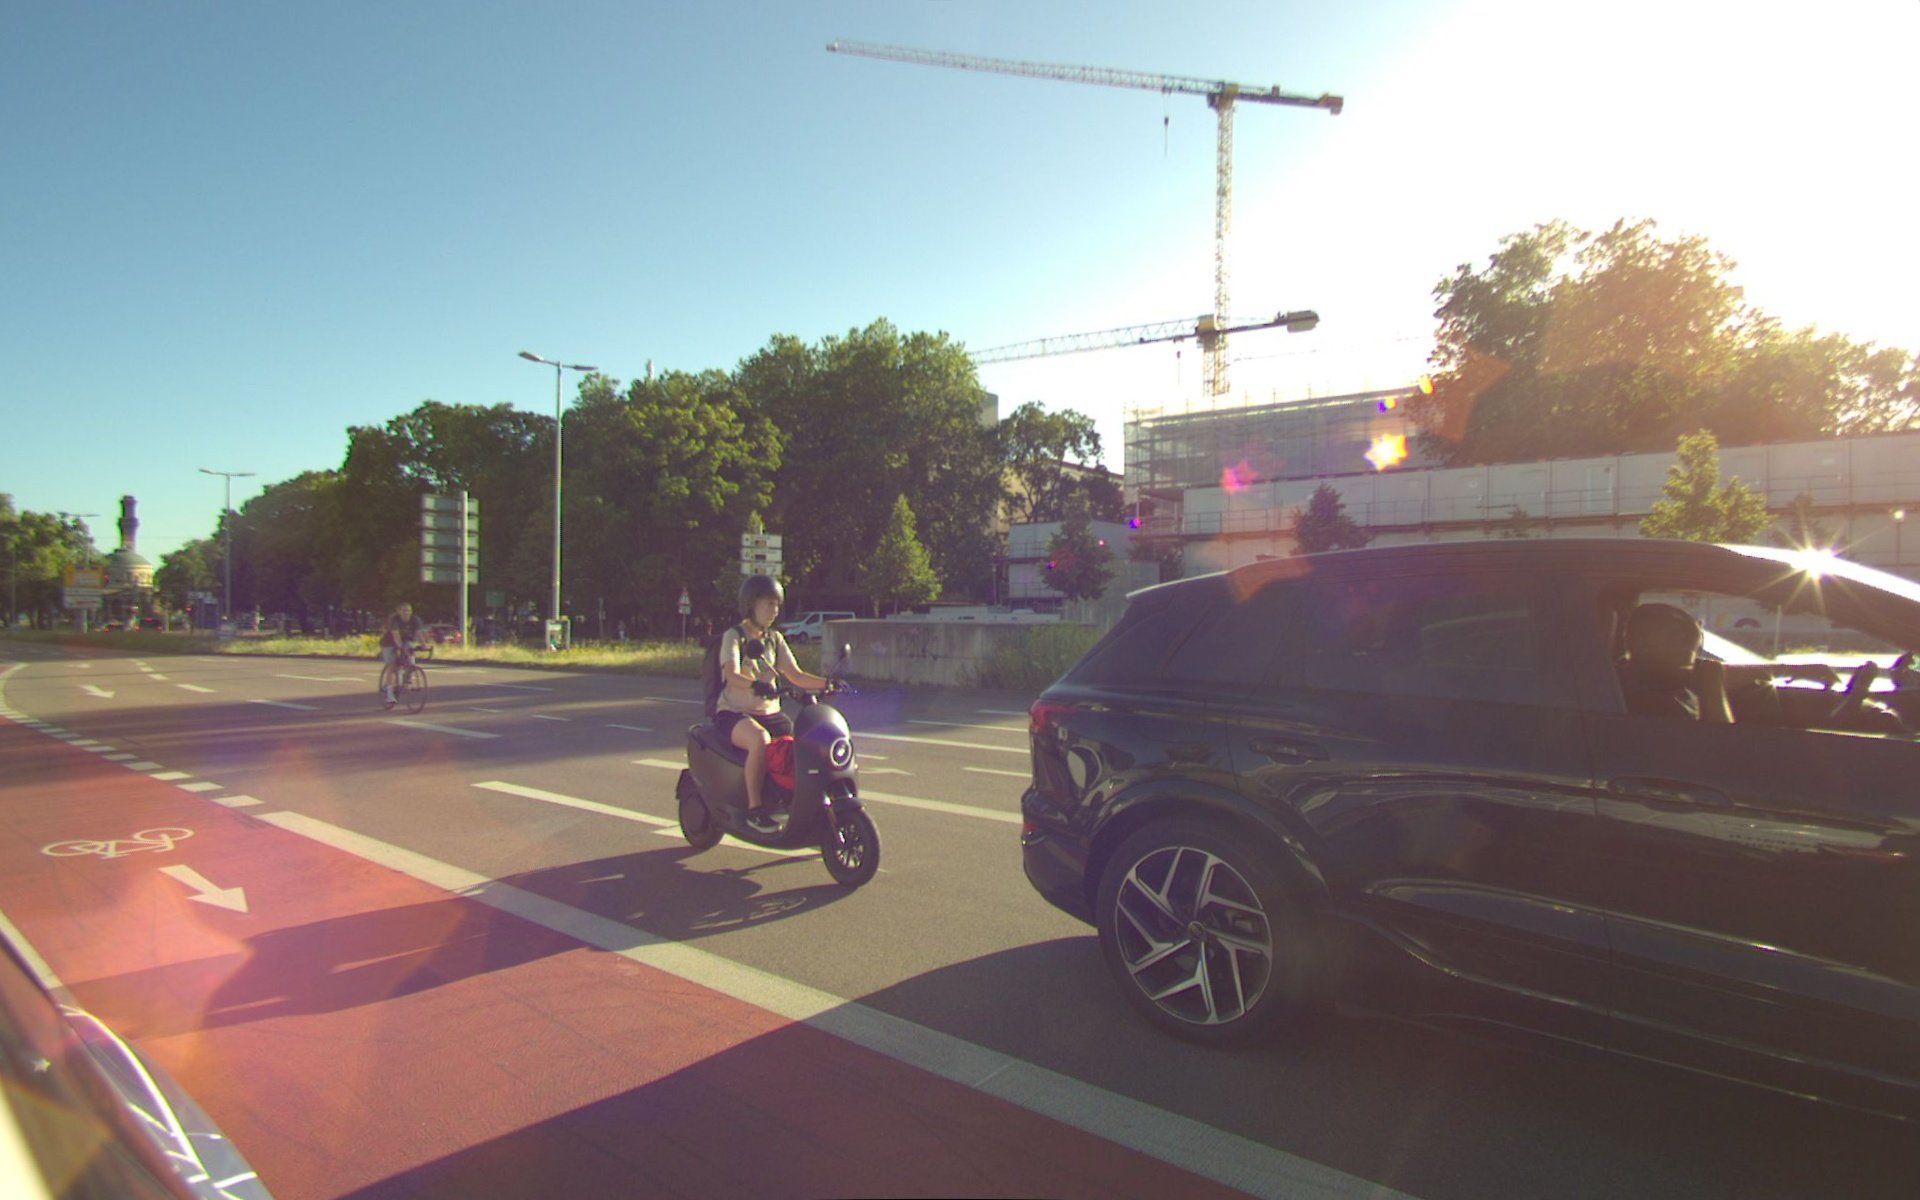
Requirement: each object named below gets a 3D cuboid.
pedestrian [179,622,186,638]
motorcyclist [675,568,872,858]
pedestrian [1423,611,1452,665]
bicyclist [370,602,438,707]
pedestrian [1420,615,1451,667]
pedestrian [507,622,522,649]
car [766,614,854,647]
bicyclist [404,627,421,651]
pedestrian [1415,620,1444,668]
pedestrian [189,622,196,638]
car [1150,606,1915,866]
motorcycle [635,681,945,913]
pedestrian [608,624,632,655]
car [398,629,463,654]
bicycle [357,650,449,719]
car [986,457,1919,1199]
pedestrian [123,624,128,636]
[{"bbox_3d":[-96.080,3.712,124.989,0.594,2.029,0.519,-1,-2,38],"label":"pedestrian"},{"bbox_3d":[-1.077,0.590,5.811,0.746,1.495,0.882,0,-1,-45],"label":"motorcyclist"},{"bbox_3d":[15.408,1.214,32.662,0.654,1.693,0.829,-1,-2,41],"label":"pedestrian"},{"bbox_3d":[-8.299,0.788,15.095,0.937,1.515,0.616,-1,-1,42],"label":"bicyclist"},{"bbox_3d":[14.876,1.267,31.647,0.654,1.601,0.829,-1,-2,41],"label":"pedestrian"},{"bbox_3d":[-29.136,2.331,66.123,0.697,1.740,0.656,-1,-2,41],"label":"pedestrian"},{"bbox_3d":[-9.093,1.852,61.704,2.000,1.906,5.256,-2,-3,42],"label":"car"},{"bbox_3d":[-30.753,2.183,56.875,0.768,1.377,0.609,-1,-2,41],"label":"bicyclist"},{"bbox_3d":[14.392,1.345,31.050,0.654,1.464,0.596,-1,-2,41],"label":"pedestrian"},{"bbox_3d":[-95.482,3.708,125.873,0.594,2.029,0.519,-1,-2,38],"label":"pedestrian"},{"bbox_3d":[3.841,0.750,7.468,4.522,1.362,1.753,-1,-1,40],"label":"car"},{"bbox_3d":[-1.035,1.007,5.753,0.746,0.976,1.961,0,-1,-45],"label":"motorcycle"},{"bbox_3d":[-20.257,2.356,60.249,0.964,1.796,0.984,-1,0,41],"label":"pedestrian"},{"bbox_3d":[-26.654,2.071,50.885,3.767,1.141,1.598,-1,-1,40],"label":"car"},{"bbox_3d":[-8.345,1.240,15.134,1.910,0.915,0.616,-1,-1,42],"label":"bicycle"},{"bbox_3d":[2.629,0.549,3.098,4.786,1.675,2.172,-1,-2,39],"label":"car"},{"bbox_3d":[-110.119,3.935,133.568,0.499,1.570,0.437,-1,-2,41],"label":"pedestrian"}]
